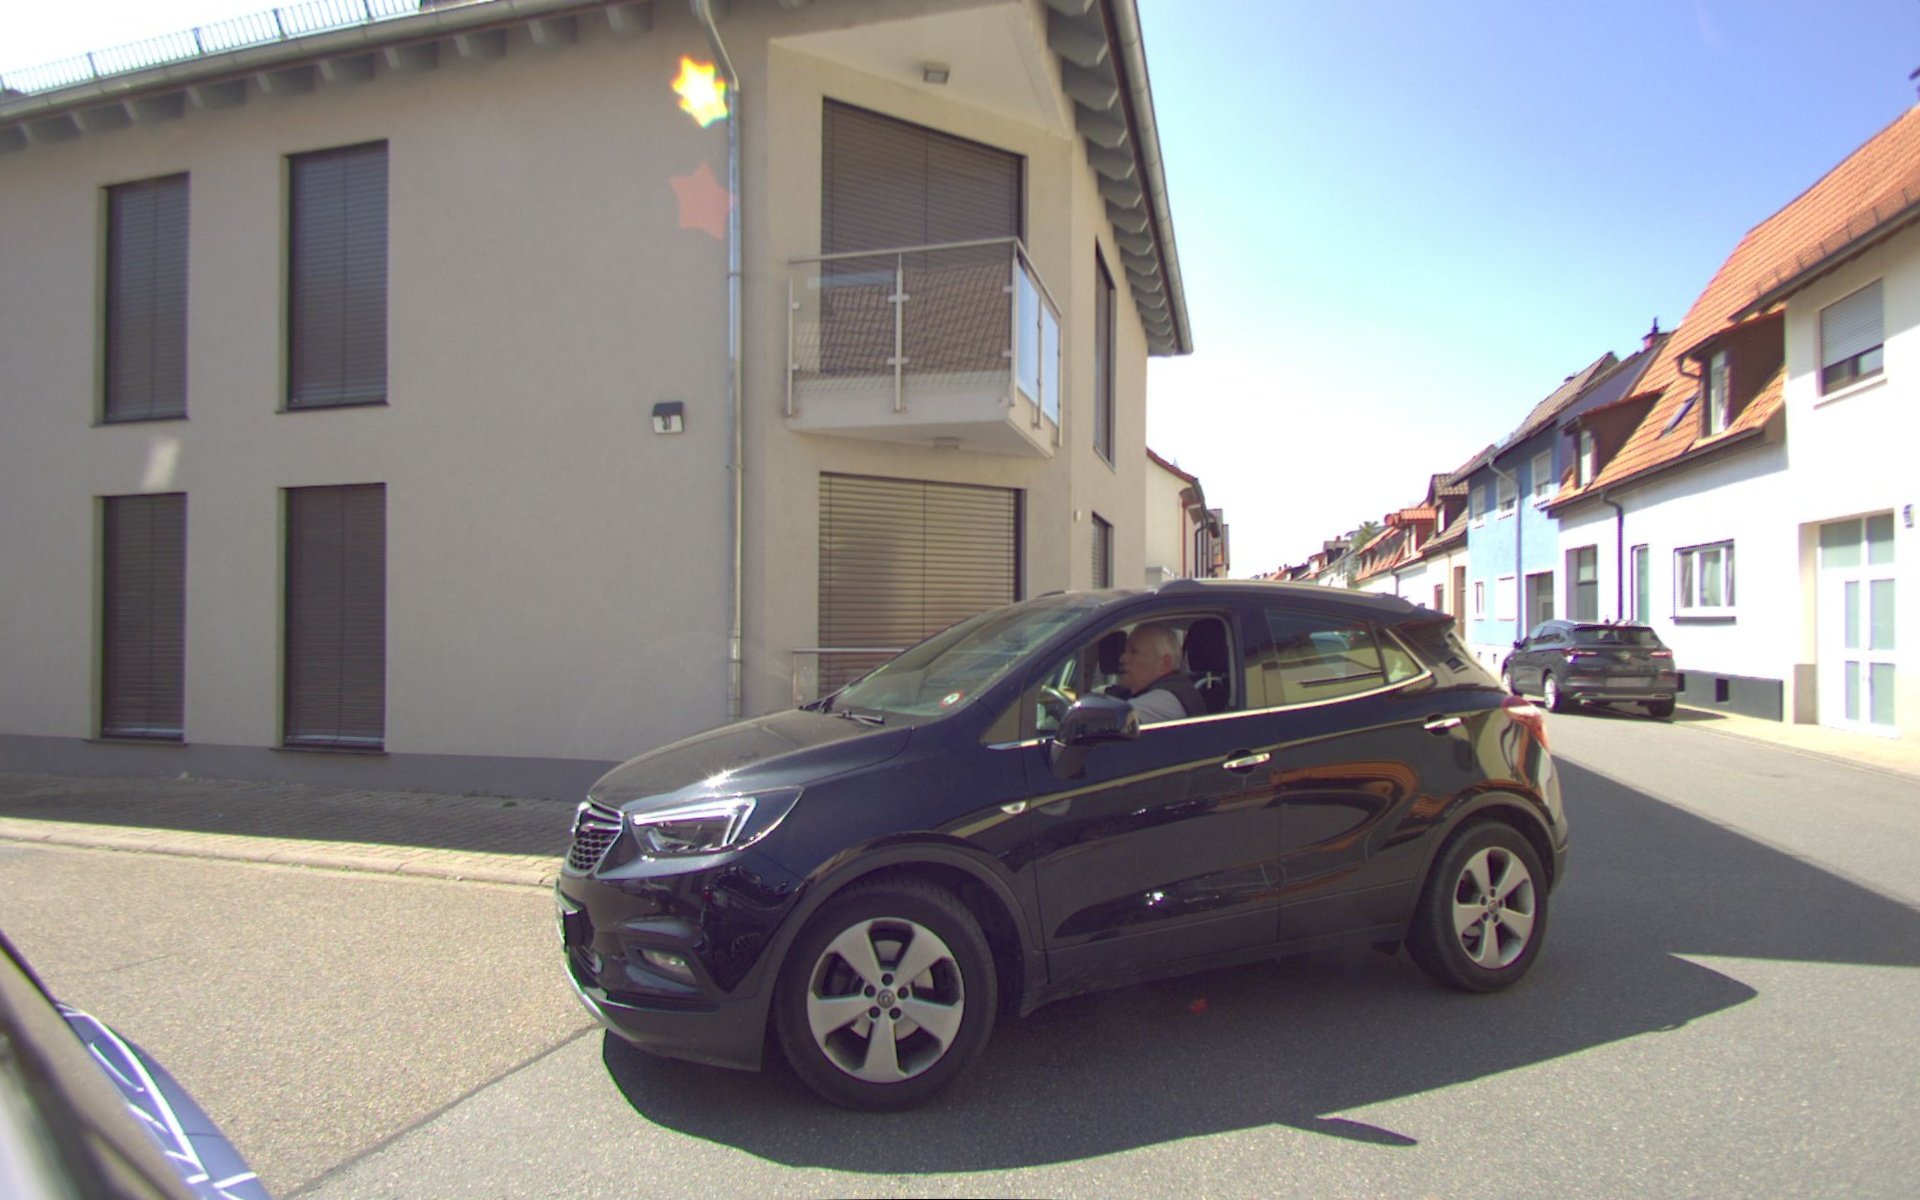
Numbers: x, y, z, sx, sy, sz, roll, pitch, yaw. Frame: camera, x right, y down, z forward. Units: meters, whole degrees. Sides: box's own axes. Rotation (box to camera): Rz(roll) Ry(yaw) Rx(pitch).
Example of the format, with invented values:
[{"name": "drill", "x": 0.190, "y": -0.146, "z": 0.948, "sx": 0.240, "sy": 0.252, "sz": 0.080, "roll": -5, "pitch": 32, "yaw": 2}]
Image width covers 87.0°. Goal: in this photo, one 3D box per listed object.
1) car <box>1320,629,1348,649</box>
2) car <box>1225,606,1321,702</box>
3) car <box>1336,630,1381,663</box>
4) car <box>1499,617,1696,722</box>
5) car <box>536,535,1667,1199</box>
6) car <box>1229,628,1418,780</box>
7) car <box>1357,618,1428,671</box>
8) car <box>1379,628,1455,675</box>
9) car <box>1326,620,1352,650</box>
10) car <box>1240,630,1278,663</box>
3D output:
[{"name": "car", "x": 21.296, "y": 2.205, "z": 57.693, "sx": 1.284, "sy": 1.084, "sz": 2.750, "roll": 0, "pitch": -2, "yaw": 16}, {"name": "car", "x": 6.278, "y": 1.042, "z": 20.598, "sx": 1.669, "sy": 1.743, "sz": 3.769, "roll": 0, "pitch": -2, "yaw": 14}, {"name": "car", "x": 19.949, "y": 2.293, "z": 50.783, "sx": 1.663, "sy": 1.586, "sz": 4.088, "roll": 0, "pitch": -2, "yaw": 15}, {"name": "car", "x": 11.218, "y": 1.161, "z": 18.153, "sx": 1.833, "sy": 1.626, "sz": 3.981, "roll": 0, "pitch": -2, "yaw": 14}, {"name": "car", "x": 0.593, "y": 0.714, "z": 4.113, "sx": 4.206, "sy": 1.595, "sz": 1.768, "roll": 1, "pitch": -3, "yaw": -24}, {"name": "car", "x": 3.939, "y": 1.046, "z": 11.521, "sx": 1.624, "sy": 1.379, "sz": 3.909, "roll": -2, "pitch": -2, "yaw": 15}, {"name": "car", "x": 18.104, "y": 1.797, "z": 42.542, "sx": 1.979, "sy": 2.029, "sz": 3.985, "roll": 0, "pitch": 0, "yaw": 12}, {"name": "car", "x": 15.645, "y": 1.727, "z": 34.810, "sx": 1.710, "sy": 1.513, "sz": 4.194, "roll": 0, "pitch": -2, "yaw": 15}, {"name": "car", "x": 24.172, "y": 2.246, "z": 64.608, "sx": 1.284, "sy": 1.845, "sz": 2.948, "roll": 0, "pitch": -2, "yaw": 16}, {"name": "car", "x": 13.686, "y": 2.119, "z": 46.456, "sx": 1.508, "sy": 1.436, "sz": 3.845, "roll": 0, "pitch": -2, "yaw": 14}]
